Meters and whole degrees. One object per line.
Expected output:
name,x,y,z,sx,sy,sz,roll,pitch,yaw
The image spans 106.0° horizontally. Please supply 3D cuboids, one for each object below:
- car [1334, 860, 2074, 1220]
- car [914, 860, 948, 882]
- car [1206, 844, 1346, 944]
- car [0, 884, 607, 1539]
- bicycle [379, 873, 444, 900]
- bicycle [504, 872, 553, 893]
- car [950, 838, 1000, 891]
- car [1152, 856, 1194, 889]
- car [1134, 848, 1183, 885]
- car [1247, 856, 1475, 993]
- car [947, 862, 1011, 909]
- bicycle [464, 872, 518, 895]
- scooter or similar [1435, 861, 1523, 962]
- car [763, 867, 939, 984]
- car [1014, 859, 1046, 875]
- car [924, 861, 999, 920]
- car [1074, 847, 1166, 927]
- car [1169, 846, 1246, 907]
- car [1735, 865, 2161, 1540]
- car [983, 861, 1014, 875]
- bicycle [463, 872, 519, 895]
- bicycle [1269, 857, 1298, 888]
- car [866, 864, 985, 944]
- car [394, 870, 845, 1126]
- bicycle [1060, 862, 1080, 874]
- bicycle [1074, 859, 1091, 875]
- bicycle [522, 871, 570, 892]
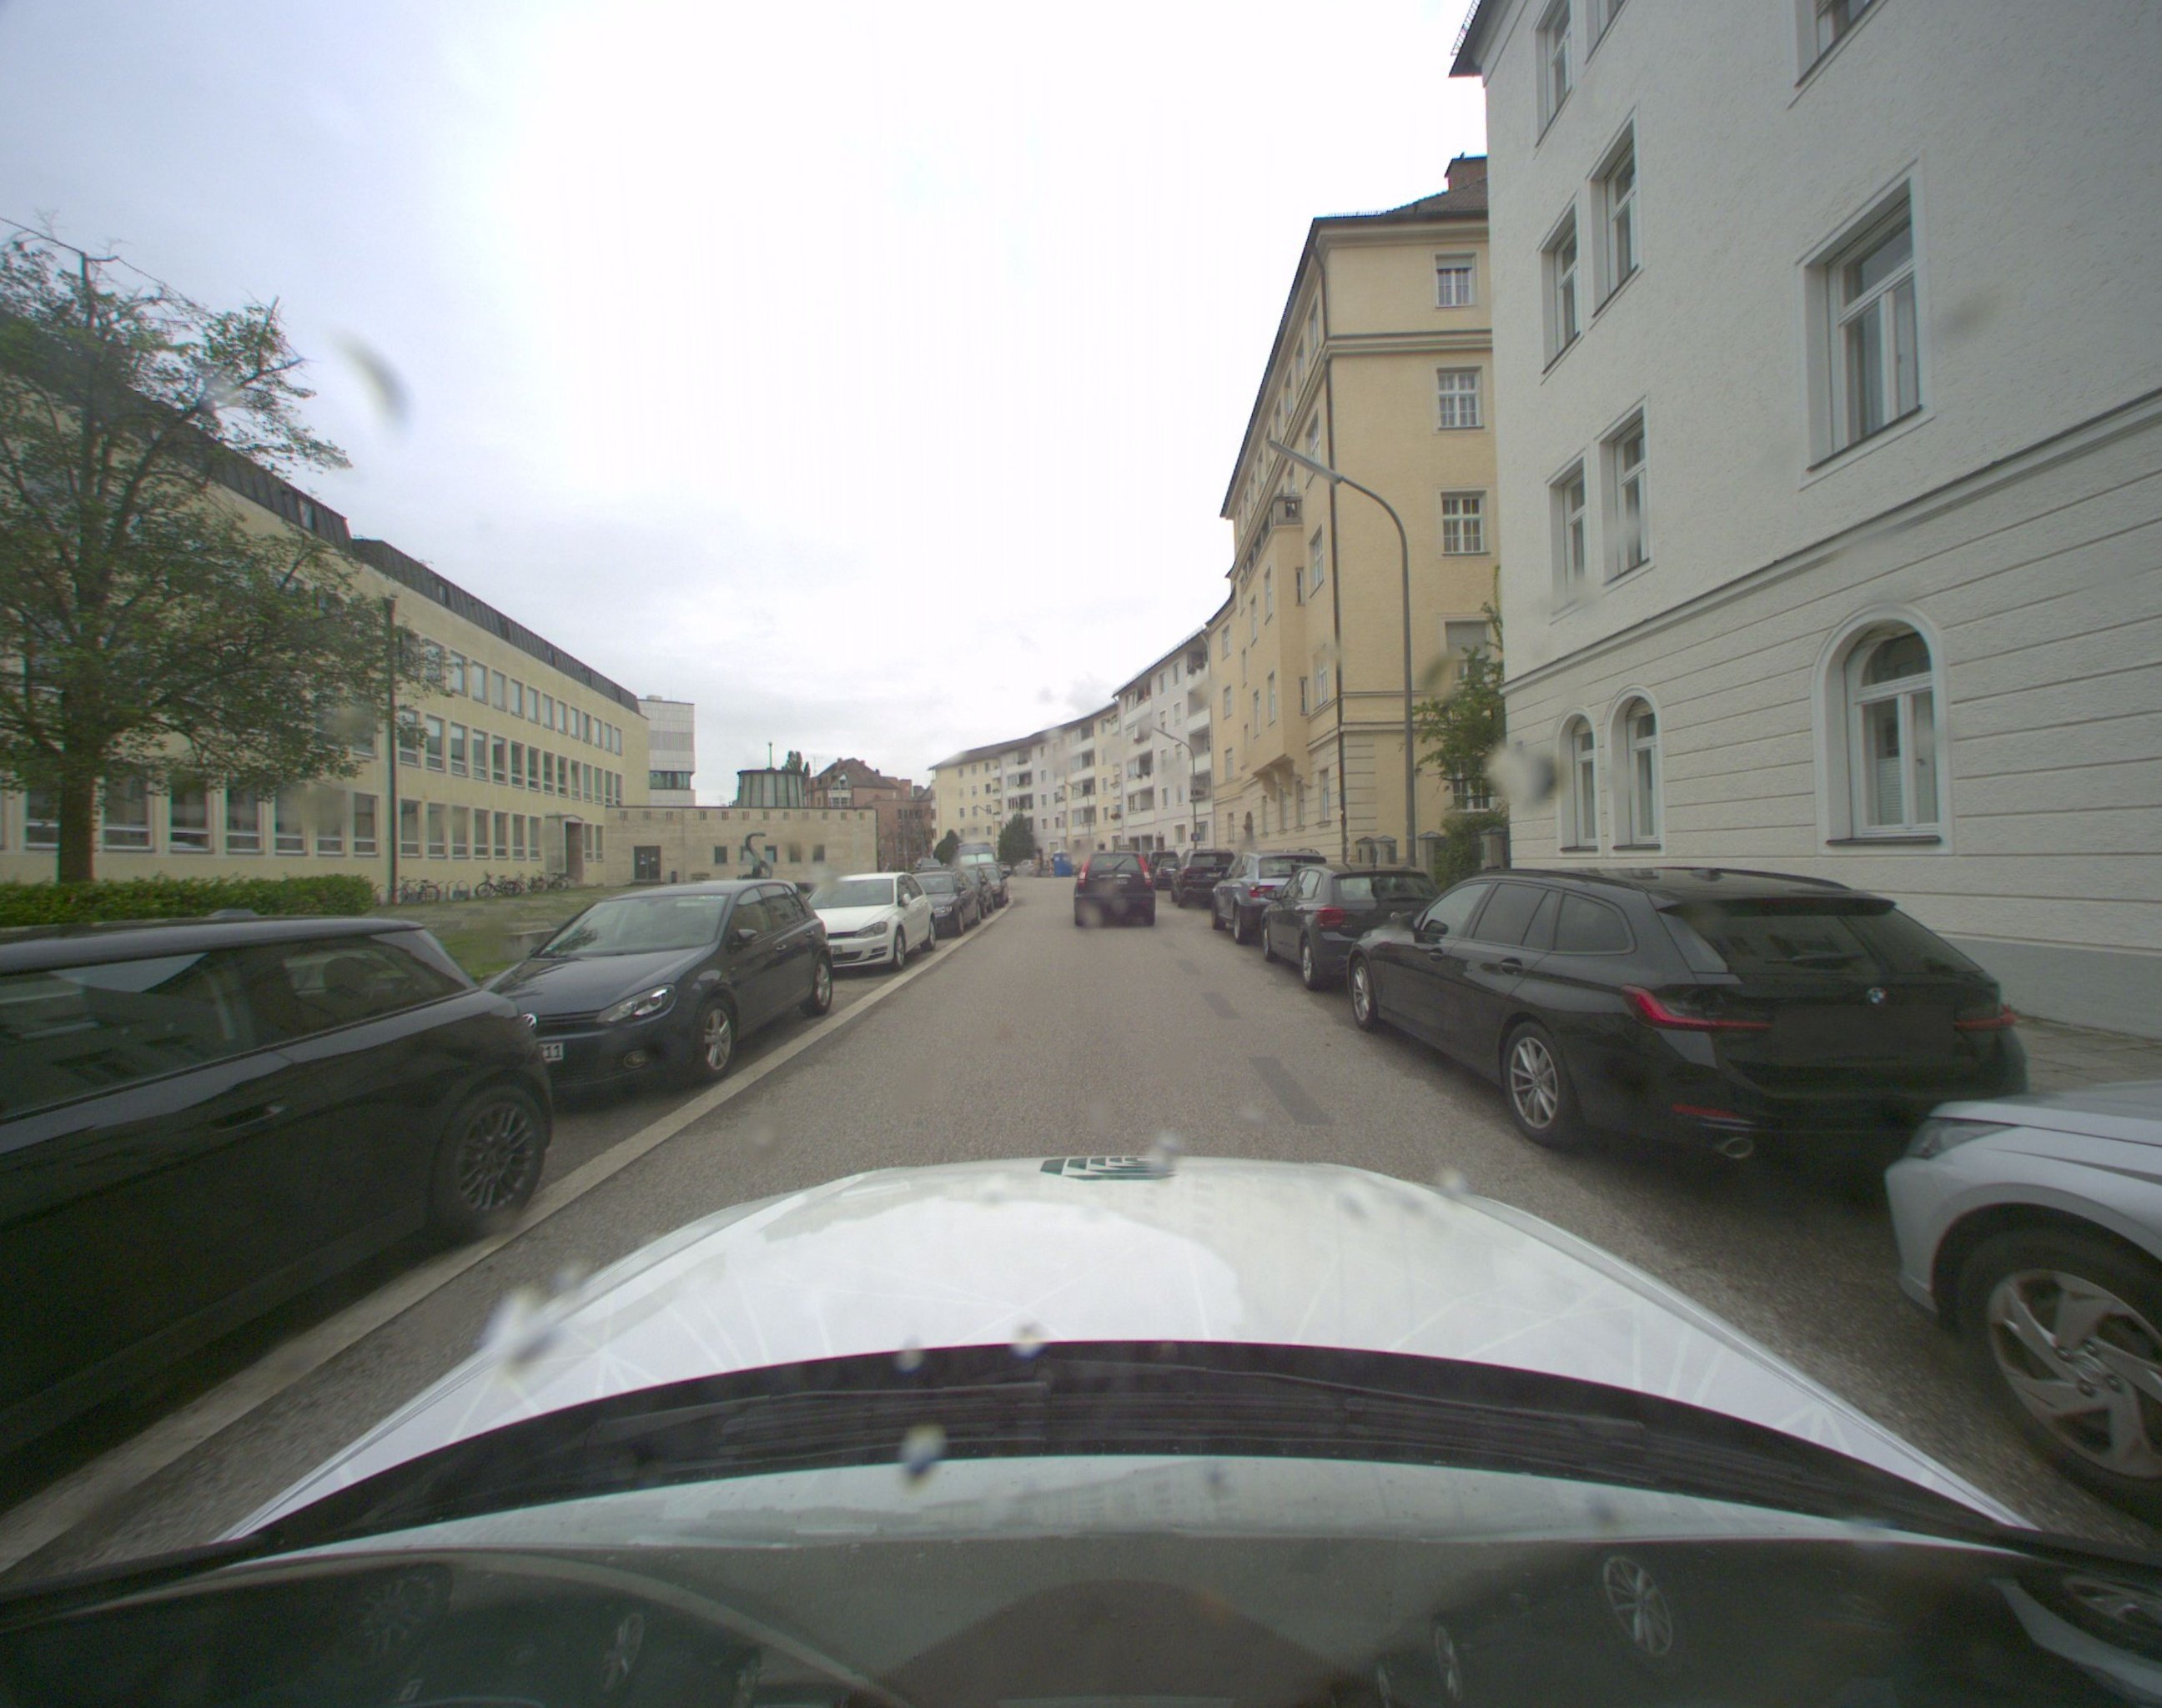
car,3.224,0.773,5.522,1.673,1.427,4.391,-1,-1,0
car,-12.287,1.370,66.584,1.687,1.707,4.476,-1,-1,-25
car,3.583,0.683,15.749,1.716,1.634,4.458,-1,-1,1
car,-3.389,0.921,2.324,1.674,1.453,3.870,-3,0,1
bicycle,-26.238,1.266,31.924,1.943,1.014,0.624,-1,0,-5
bicycle,-27.968,1.447,41.266,1.949,1.014,0.623,-1,0,-13
car,-5.867,0.547,44.421,2.166,2.641,5.992,-3,0,-12
car,4.231,0.828,37.866,1.701,1.447,3.832,0,-1,3
car,4.019,0.643,42.913,1.775,1.807,4.266,0,-1,-6
car,3.414,0.774,10.767,1.673,1.427,4.088,-1,-1,1
car,-3.432,1.022,28.191,1.795,1.406,4.450,-3,0,-3
bicycle,-27.659,1.368,38.179,1.946,1.014,0.623,-1,0,-9
scooter or similar,4.866,0.675,10.014,0.483,1.164,1.172,-1,-1,-1
car,-3.459,0.994,13.045,1.652,1.453,4.071,-3,0,-1
car,-5.047,1.261,79.676,1.733,1.483,3.966,0,0,-26
car,-3.348,0.984,23.358,1.652,1.453,3.310,-3,0,-1
car,0.811,0.722,19.332,1.886,1.647,3.989,-1,-1,-1
car,3.894,0.662,25.734,1.862,1.717,4.868,0,0,2
car,3.158,0.749,0.812,1.673,1.427,4.167,-1,-1,0
car,-8.991,1.506,88.598,1.736,1.483,3.959,0,0,-32
bicycle,-27.104,1.354,37.450,1.950,1.014,0.622,-1,0,-15
bicycle,7.562,0.670,30.465,0.577,1.083,1.954,-4,0,2
car,-3.329,1.004,18.294,1.749,1.453,4.395,-3,0,0
car,-3.479,0.945,7.116,1.652,1.453,3.972,-3,0,-1
bicycle,-1.110,1.419,82.493,1.872,1.091,0.562,-1,-1,-20
bicycle,0.139,1.184,74.763,0.970,1.388,2.551,-1,-1,-14
bicycle,-28.032,1.448,42.690,1.953,1.014,0.621,-1,0,-20
